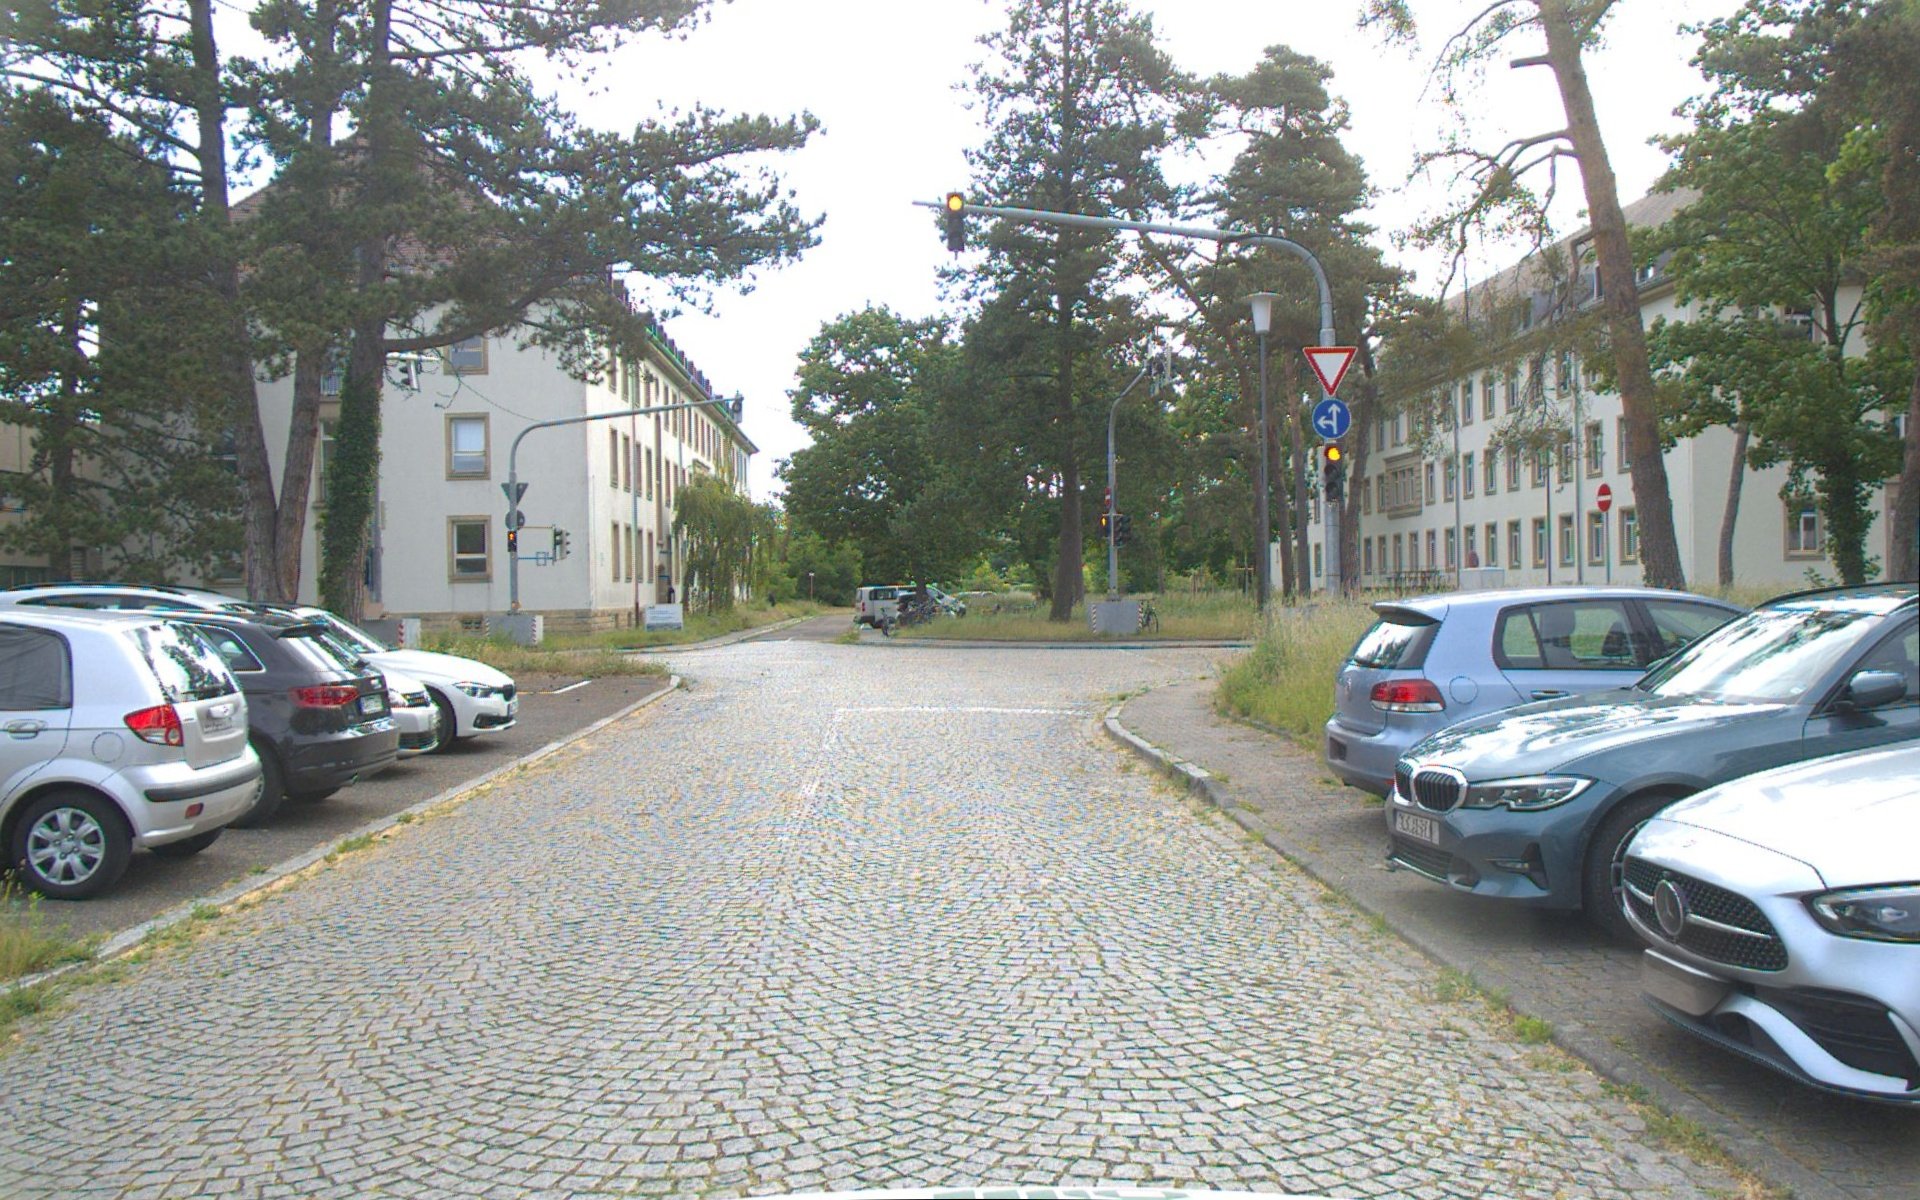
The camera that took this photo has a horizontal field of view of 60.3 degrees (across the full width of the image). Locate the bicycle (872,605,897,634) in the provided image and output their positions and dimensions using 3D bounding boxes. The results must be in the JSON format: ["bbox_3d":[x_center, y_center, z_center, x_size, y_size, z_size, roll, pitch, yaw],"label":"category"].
[{"bbox_3d":[-2.619,0.676,57.640,0.605,0.980,2.078,-1,0,5],"label":"bicycle"}]

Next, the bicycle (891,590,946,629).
[{"bbox_3d":[-1.579,0.361,63.109,2.028,1.402,0.620,-1,0,-2],"label":"bicycle"}]

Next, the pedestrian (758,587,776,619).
[{"bbox_3d":[-12.437,0.204,106.438,0.938,2.049,0.796,-1,0,7],"label":"pedestrian"}]

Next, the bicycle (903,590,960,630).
[{"bbox_3d":[-1.032,0.353,59.500,2.028,1.402,0.620,-1,0,-2],"label":"bicycle"}]

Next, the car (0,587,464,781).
[{"bbox_3d":[-6.586,0.706,14.669,3.911,1.574,1.722,1,0,-7],"label":"car"}]

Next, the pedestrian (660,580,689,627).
[{"bbox_3d":[-12.871,0.147,74.542,1.064,2.049,1.022,-1,0,3],"label":"pedestrian"}]

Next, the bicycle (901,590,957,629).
[{"bbox_3d":[-1.147,0.360,61.457,2.028,1.402,0.620,-1,0,-2],"label":"bicycle"}]

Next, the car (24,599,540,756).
[{"bbox_3d":[-6.814,0.772,17.066,4.558,1.469,1.799,1,0,-6],"label":"car"}]

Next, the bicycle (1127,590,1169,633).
[{"bbox_3d":[5.392,0.319,47.478,0.890,1.197,1.873,-1,0,-3],"label":"bicycle"}]

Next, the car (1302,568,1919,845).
[{"bbox_3d":[4.226,0.607,10.541,3.688,1.451,1.605,-3,1,-3],"label":"car"}]

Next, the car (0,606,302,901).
[{"bbox_3d":[-5.834,0.779,9.259,3.608,1.478,1.806,1,0,-7],"label":"car"}]

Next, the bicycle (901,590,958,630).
[{"bbox_3d":[-1.101,0.355,60.169,2.028,1.402,0.620,-1,0,-2],"label":"bicycle"}]

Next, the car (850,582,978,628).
[{"bbox_3d":[-2.167,0.227,77.353,5.597,1.943,2.221,-1,0,-15],"label":"car"}]

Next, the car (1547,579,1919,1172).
[{"bbox_3d":[4.532,0.659,5.280,4.661,1.508,1.812,-1,0,-2],"label":"car"}]

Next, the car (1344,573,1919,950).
[{"bbox_3d":[4.415,0.634,7.986,4.665,1.508,1.760,-2,0,-6],"label":"car"}]

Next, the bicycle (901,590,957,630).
[{"bbox_3d":[-1.128,0.357,60.793,2.028,1.402,0.620,-1,0,-2],"label":"bicycle"}]

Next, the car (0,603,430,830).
[{"bbox_3d":[-6.046,0.779,11.887,3.908,1.452,1.750,1,0,-3],"label":"car"}]

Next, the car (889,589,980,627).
[{"bbox_3d":[-1.161,0.354,74.022,3.858,1.571,1.997,-1,0,-7],"label":"car"}]
